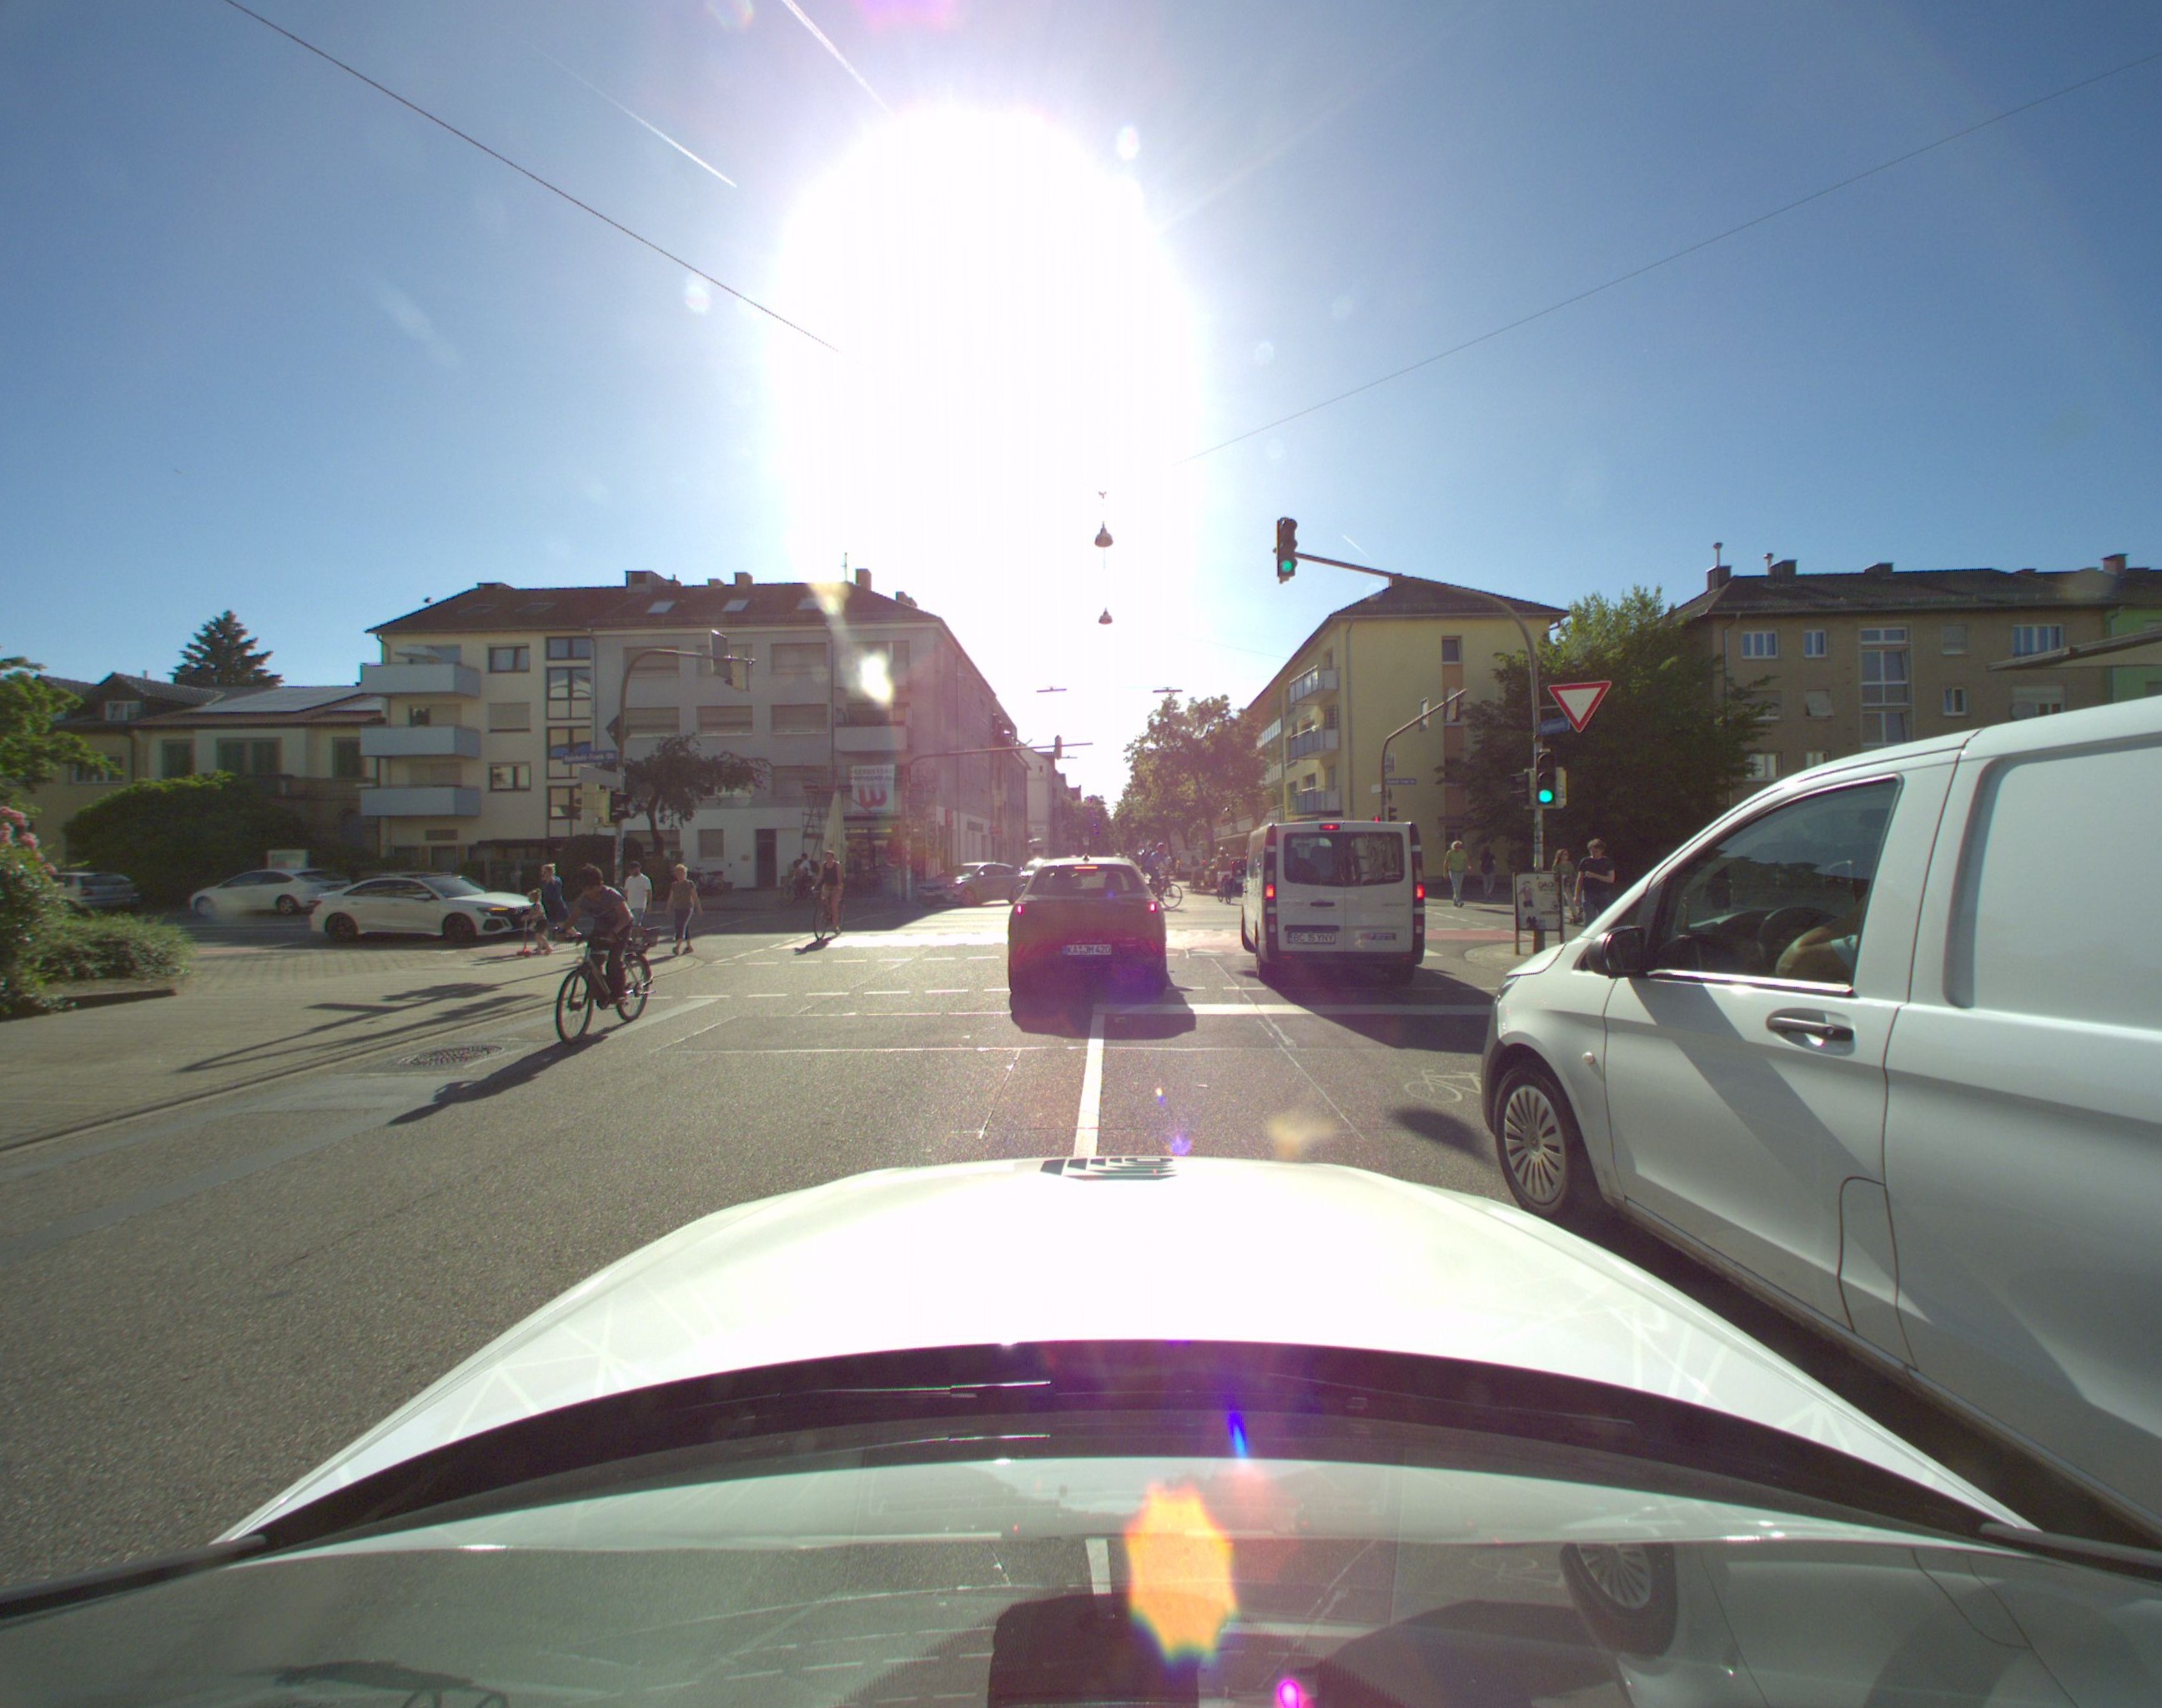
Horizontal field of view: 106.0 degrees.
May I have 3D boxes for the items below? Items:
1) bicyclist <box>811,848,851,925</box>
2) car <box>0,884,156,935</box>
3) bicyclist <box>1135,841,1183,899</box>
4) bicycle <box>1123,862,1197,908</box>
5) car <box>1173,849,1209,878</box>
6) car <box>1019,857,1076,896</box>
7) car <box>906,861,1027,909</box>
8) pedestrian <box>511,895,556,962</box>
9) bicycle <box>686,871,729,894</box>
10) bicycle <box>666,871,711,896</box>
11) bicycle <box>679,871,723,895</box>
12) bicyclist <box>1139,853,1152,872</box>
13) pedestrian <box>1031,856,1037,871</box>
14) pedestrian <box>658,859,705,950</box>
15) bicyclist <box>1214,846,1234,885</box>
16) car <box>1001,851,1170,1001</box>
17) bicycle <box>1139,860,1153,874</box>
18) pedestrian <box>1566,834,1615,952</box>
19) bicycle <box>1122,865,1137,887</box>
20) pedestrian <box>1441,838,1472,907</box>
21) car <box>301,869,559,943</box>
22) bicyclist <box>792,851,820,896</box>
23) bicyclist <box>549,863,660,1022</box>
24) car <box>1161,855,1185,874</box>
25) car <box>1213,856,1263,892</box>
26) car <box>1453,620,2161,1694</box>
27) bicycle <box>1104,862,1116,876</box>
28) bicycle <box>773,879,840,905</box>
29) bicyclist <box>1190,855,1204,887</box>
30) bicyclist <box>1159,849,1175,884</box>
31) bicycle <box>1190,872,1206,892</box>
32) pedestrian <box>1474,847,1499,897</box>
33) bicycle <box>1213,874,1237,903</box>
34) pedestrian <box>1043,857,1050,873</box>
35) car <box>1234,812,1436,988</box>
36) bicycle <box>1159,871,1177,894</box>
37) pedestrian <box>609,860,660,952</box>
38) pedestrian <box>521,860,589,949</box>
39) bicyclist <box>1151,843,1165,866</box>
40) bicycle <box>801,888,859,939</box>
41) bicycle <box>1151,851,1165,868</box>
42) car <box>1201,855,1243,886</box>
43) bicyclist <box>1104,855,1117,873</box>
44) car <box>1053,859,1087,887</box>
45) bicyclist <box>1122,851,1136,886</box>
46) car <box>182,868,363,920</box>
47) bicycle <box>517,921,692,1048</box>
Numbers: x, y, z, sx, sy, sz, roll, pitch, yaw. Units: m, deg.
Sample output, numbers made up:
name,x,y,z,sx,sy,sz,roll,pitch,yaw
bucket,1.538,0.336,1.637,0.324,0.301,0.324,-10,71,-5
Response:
name,x,y,z,sx,sy,sz,roll,pitch,yaw
bicyclist,-5.077,0.656,16.583,0.540,1.520,0.774,-1,0,2
car,-33.285,1.800,26.567,3.973,1.429,1.917,-1,2,1
bicyclist,2.270,0.470,23.781,1.111,1.649,0.809,-1,-1,45
bicycle,2.277,0.883,23.779,0.809,1.255,2.112,-1,0,-45
car,7.398,0.615,55.308,2.037,1.846,4.588,-1,0,3
car,-1.404,0.936,35.752,1.582,1.566,4.101,-2,-1,11
car,-3.718,0.979,27.144,1.820,1.433,4.202,-1,0,29
pedestrian,-9.760,1.313,14.511,0.382,1.146,0.535,-1,0,26
bicycle,-15.615,1.187,34.064,1.582,0.940,0.513,-1,0,3
bicycle,-15.708,1.185,32.604,1.582,0.940,0.513,-1,0,3
bicycle,-15.593,1.193,33.411,1.582,0.940,0.513,-1,0,3
bicyclist,4.518,0.612,57.070,0.853,1.314,1.211,1,0,1
pedestrian,-4.614,0.891,79.731,0.575,1.467,0.702,-1,0,-4
pedestrian,-7.120,0.880,14.536,0.529,1.581,0.563,-1,0,2
bicyclist,4.726,0.363,26.907,0.544,1.262,0.803,-1,0,3
car,0.111,0.779,10.584,1.756,1.558,4.001,-1,-1,2
bicycle,4.515,0.919,57.079,0.853,0.945,2.308,1,0,2
pedestrian,8.122,0.611,13.009,0.598,1.822,0.632,-1,-1,29
bicycle,2.363,1.057,39.929,0.630,1.041,1.796,-2,0,2
pedestrian,9.895,0.480,21.474,0.524,1.762,0.623,-1,0,0
car,-14.494,1.135,18.311,4.235,1.435,1.937,0,3,3
bicyclist,-9.467,0.665,28.073,0.811,1.549,0.553,0,-1,-9
bicyclist,-4.414,0.785,7.591,0.541,1.391,0.788,-1,0,1
car,7.656,0.860,67.736,1.706,1.483,3.383,-1,0,2
car,7.035,0.863,36.798,1.706,1.483,3.482,-1,0,2
car,2.799,0.503,1.597,1.961,1.810,4.833,-1,-1,1
bicycle,2.149,1.079,59.688,0.853,0.945,2.308,1,0,2
bicycle,-9.436,1.297,28.072,2.124,0.833,0.553,0,-1,-9
bicyclist,5.177,0.752,36.377,0.544,1.382,0.823,-1,0,3
bicyclist,3.513,0.492,33.150,0.586,1.382,0.823,-1,0,3
bicycle,5.260,1.248,36.653,0.544,0.866,1.878,-1,0,3
pedestrian,12.951,0.577,26.011,0.537,1.571,0.539,-1,0,1
bicycle,4.731,1.112,26.847,0.544,0.866,1.878,-1,0,3
pedestrian,-3.382,1.087,79.565,0.575,1.583,0.707,-1,0,-4
car,3.304,0.524,11.647,1.957,1.940,5.066,0,-1,8
bicycle,3.521,1.161,33.080,0.617,0.866,1.878,-1,0,3
pedestrian,-8.437,0.970,15.408,0.571,1.689,0.669,-1,0,0
pedestrian,-10.333,0.974,16.012,0.569,1.683,0.972,-1,0,15
bicyclist,4.044,0.050,42.809,0.689,1.193,0.595,-1,0,3
bicycle,-5.068,1.180,16.565,0.540,0.902,1.827,-1,0,2
bicycle,4.033,0.305,42.795,0.688,0.866,1.878,-1,0,3
car,7.159,0.812,41.633,1.706,1.483,3.383,-1,0,2
bicyclist,2.159,0.715,59.800,0.853,1.314,1.211,1,0,1
car,-0.618,1.014,45.862,1.799,1.413,4.424,-3,0,-1
bicyclist,2.343,0.711,39.689,0.630,1.669,1.051,-2,0,2
car,-26.337,1.285,26.623,3.973,1.519,1.916,-1,1,1
bicycle,-4.415,1.167,7.711,0.541,0.902,1.826,-1,0,1
